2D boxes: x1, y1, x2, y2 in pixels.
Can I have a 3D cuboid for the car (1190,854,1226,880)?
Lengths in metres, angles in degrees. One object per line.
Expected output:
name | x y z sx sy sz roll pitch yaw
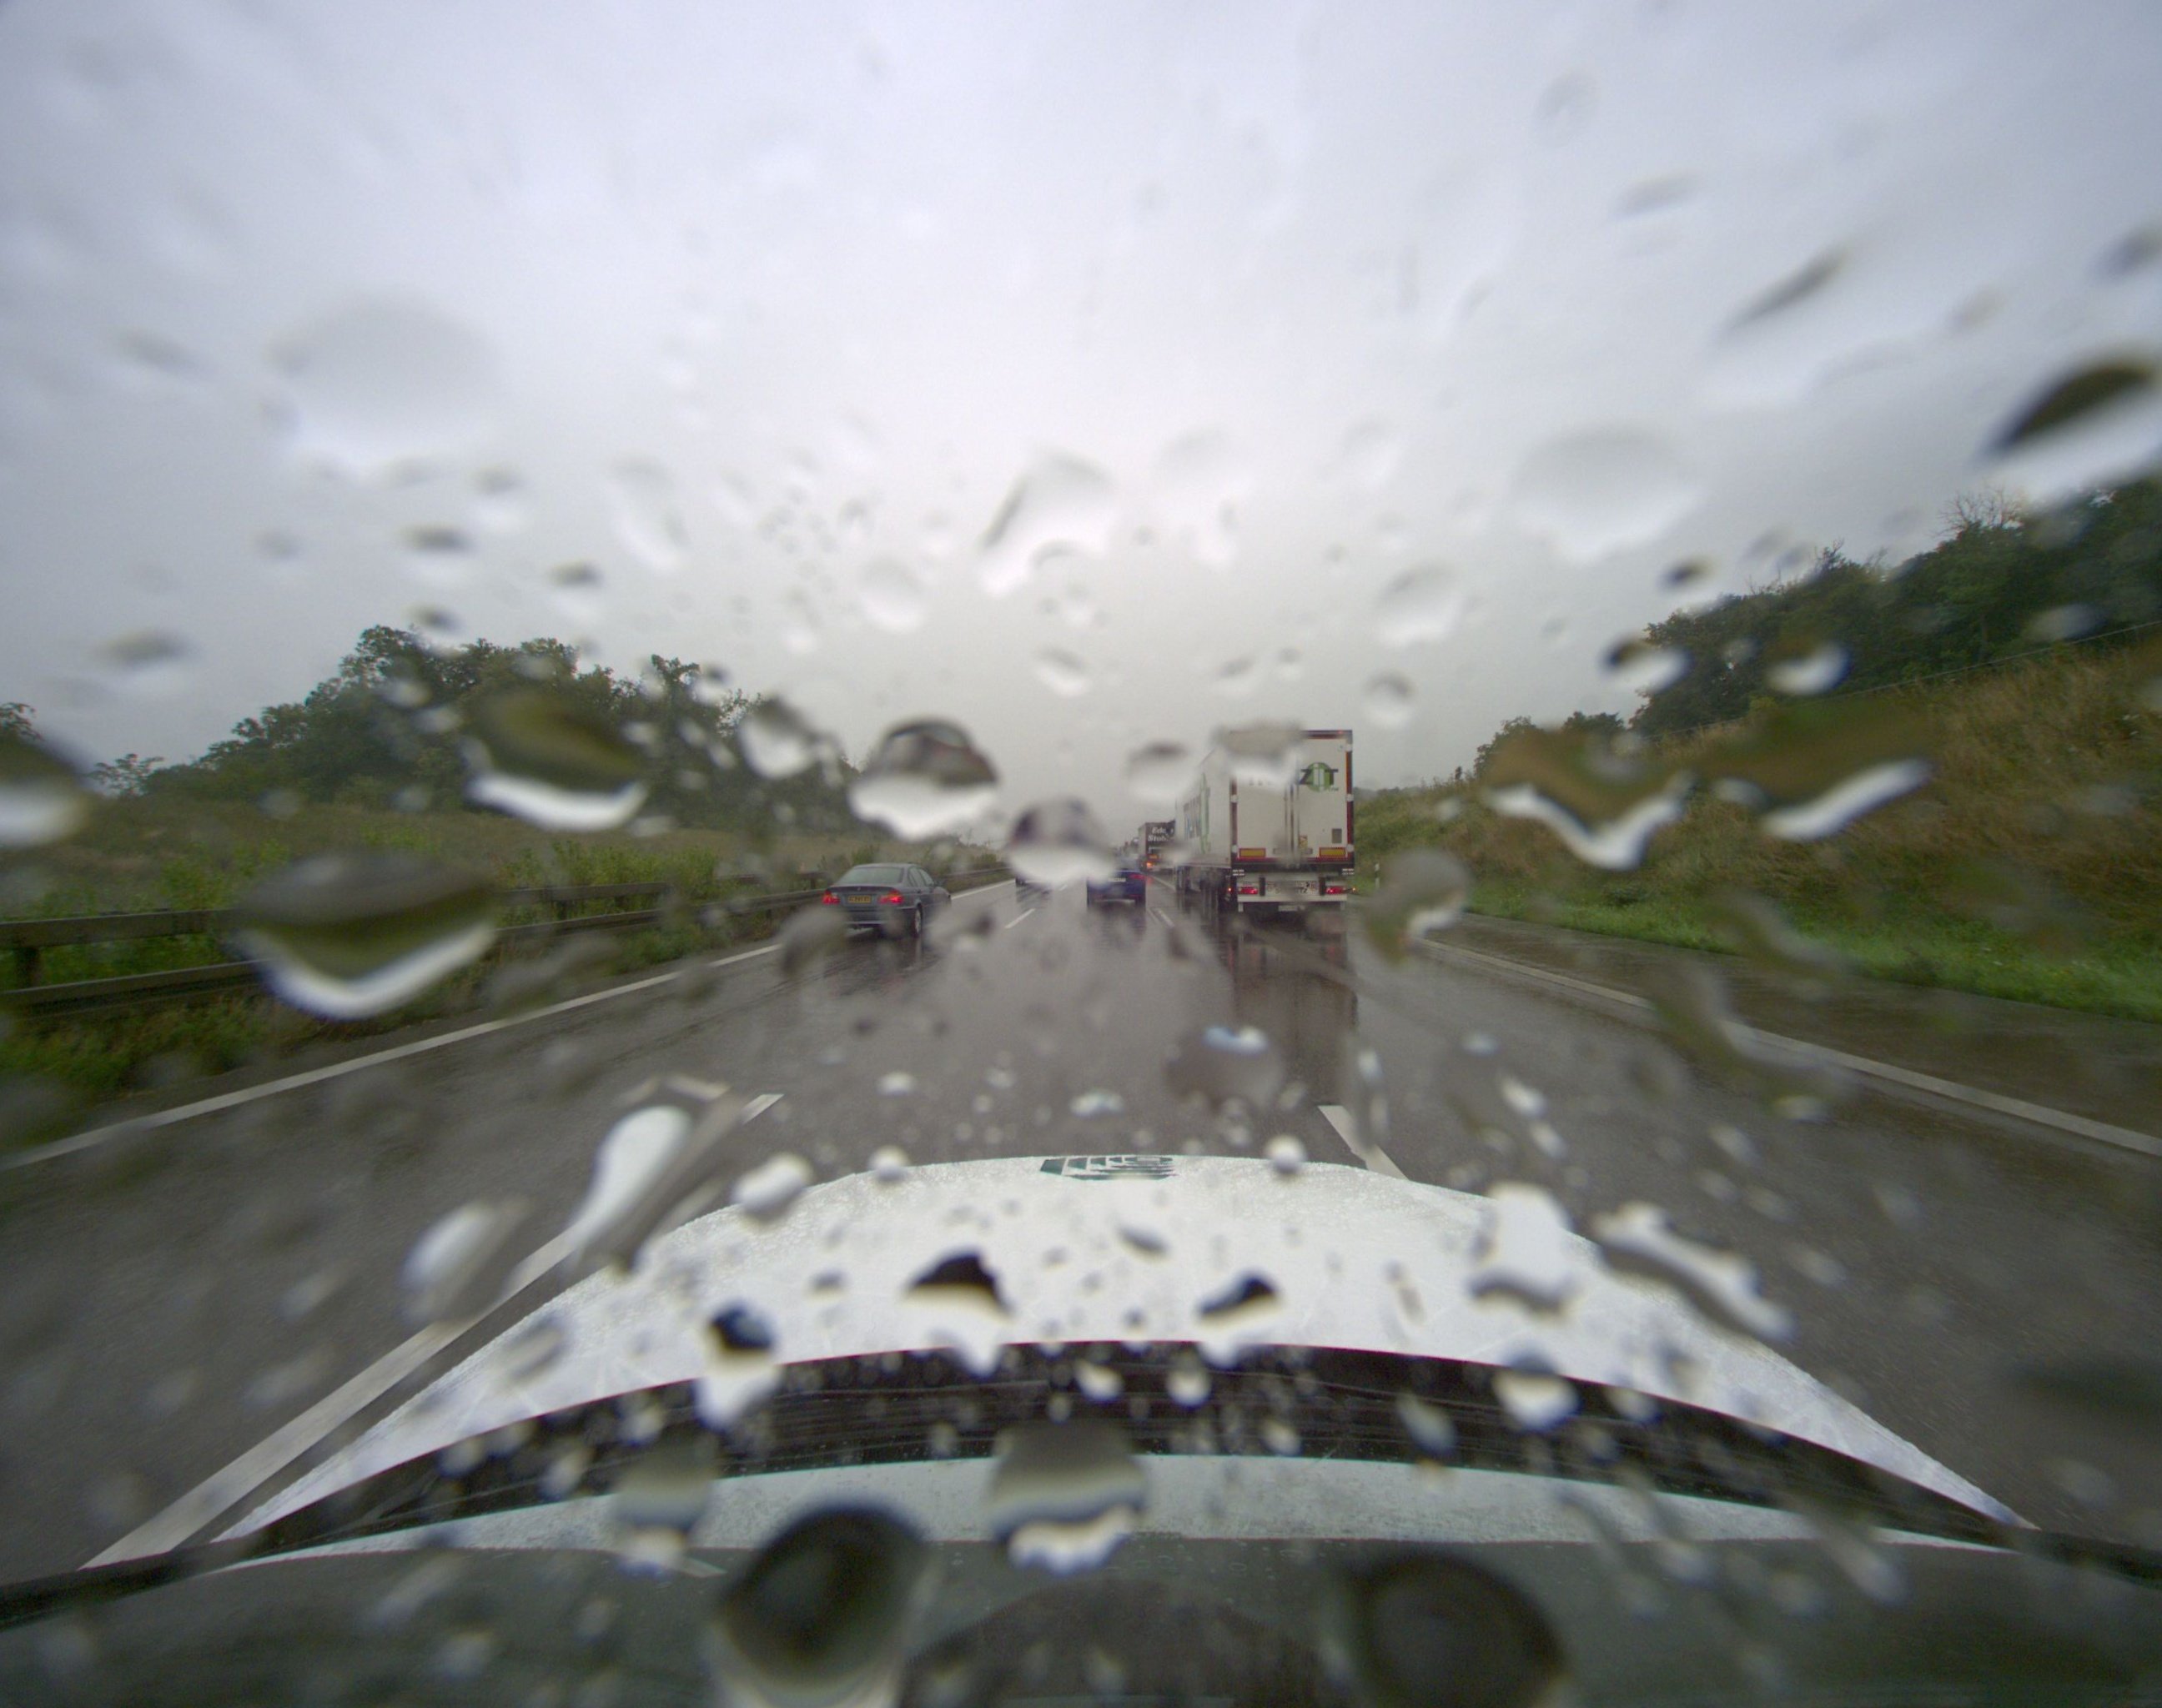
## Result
car | 6.607 0.656 42.666 1.418 1.288 3.462 -1 0 2

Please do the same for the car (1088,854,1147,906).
car | 1.119 0.746 25.053 1.629 1.445 4.002 -1 0 2

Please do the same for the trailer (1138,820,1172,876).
trailer | 5.912 -0.473 66.412 2.039 4.176 11.452 -1 0 2

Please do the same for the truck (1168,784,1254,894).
truck | 4.844 -0.529 31.149 2.620 3.827 4.793 -1 0 2

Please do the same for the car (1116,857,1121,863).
car | 11.405 1.725 247.233 1.443 1.784 3.410 0 -1 2

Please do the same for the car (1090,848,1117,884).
car | 1.176 0.587 42.630 1.332 1.780 3.323 -1 0 2

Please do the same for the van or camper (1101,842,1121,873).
van or camper | 2.801 0.343 76.970 1.790 2.806 4.769 -1 0 2

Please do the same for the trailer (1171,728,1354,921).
trailer | 4.619 -0.625 24.379 2.620 4.013 14.635 -1 0 2

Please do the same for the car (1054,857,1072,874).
car | -1.640 1.048 75.016 1.434 1.420 3.323 -1 0 2

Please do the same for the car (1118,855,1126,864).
car | 8.035 1.010 159.483 1.443 1.784 3.410 0 -1 2

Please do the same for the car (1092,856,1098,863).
car | 3.187 1.270 186.410 1.443 1.784 3.410 0 -1 2

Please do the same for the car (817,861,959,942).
car | -3.788 0.873 16.735 1.711 1.400 4.232 -1 0 2

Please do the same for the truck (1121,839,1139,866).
truck | 6.536 -0.252 109.711 1.987 3.421 8.032 -1 0 1

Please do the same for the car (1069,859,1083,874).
car | -0.504 1.404 91.706 1.434 1.533 3.323 -1 0 2

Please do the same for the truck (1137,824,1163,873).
truck | 6.114 -0.478 72.246 2.039 4.193 4.002 -1 0 2

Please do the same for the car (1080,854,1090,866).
car | 0.666 0.943 129.388 1.443 1.784 3.410 0 -1 2

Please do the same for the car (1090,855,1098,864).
car | 2.548 1.061 160.951 1.443 1.784 3.410 0 -1 2

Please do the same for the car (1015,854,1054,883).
car | -2.530 0.788 45.039 1.715 1.523 4.003 -1 0 3
